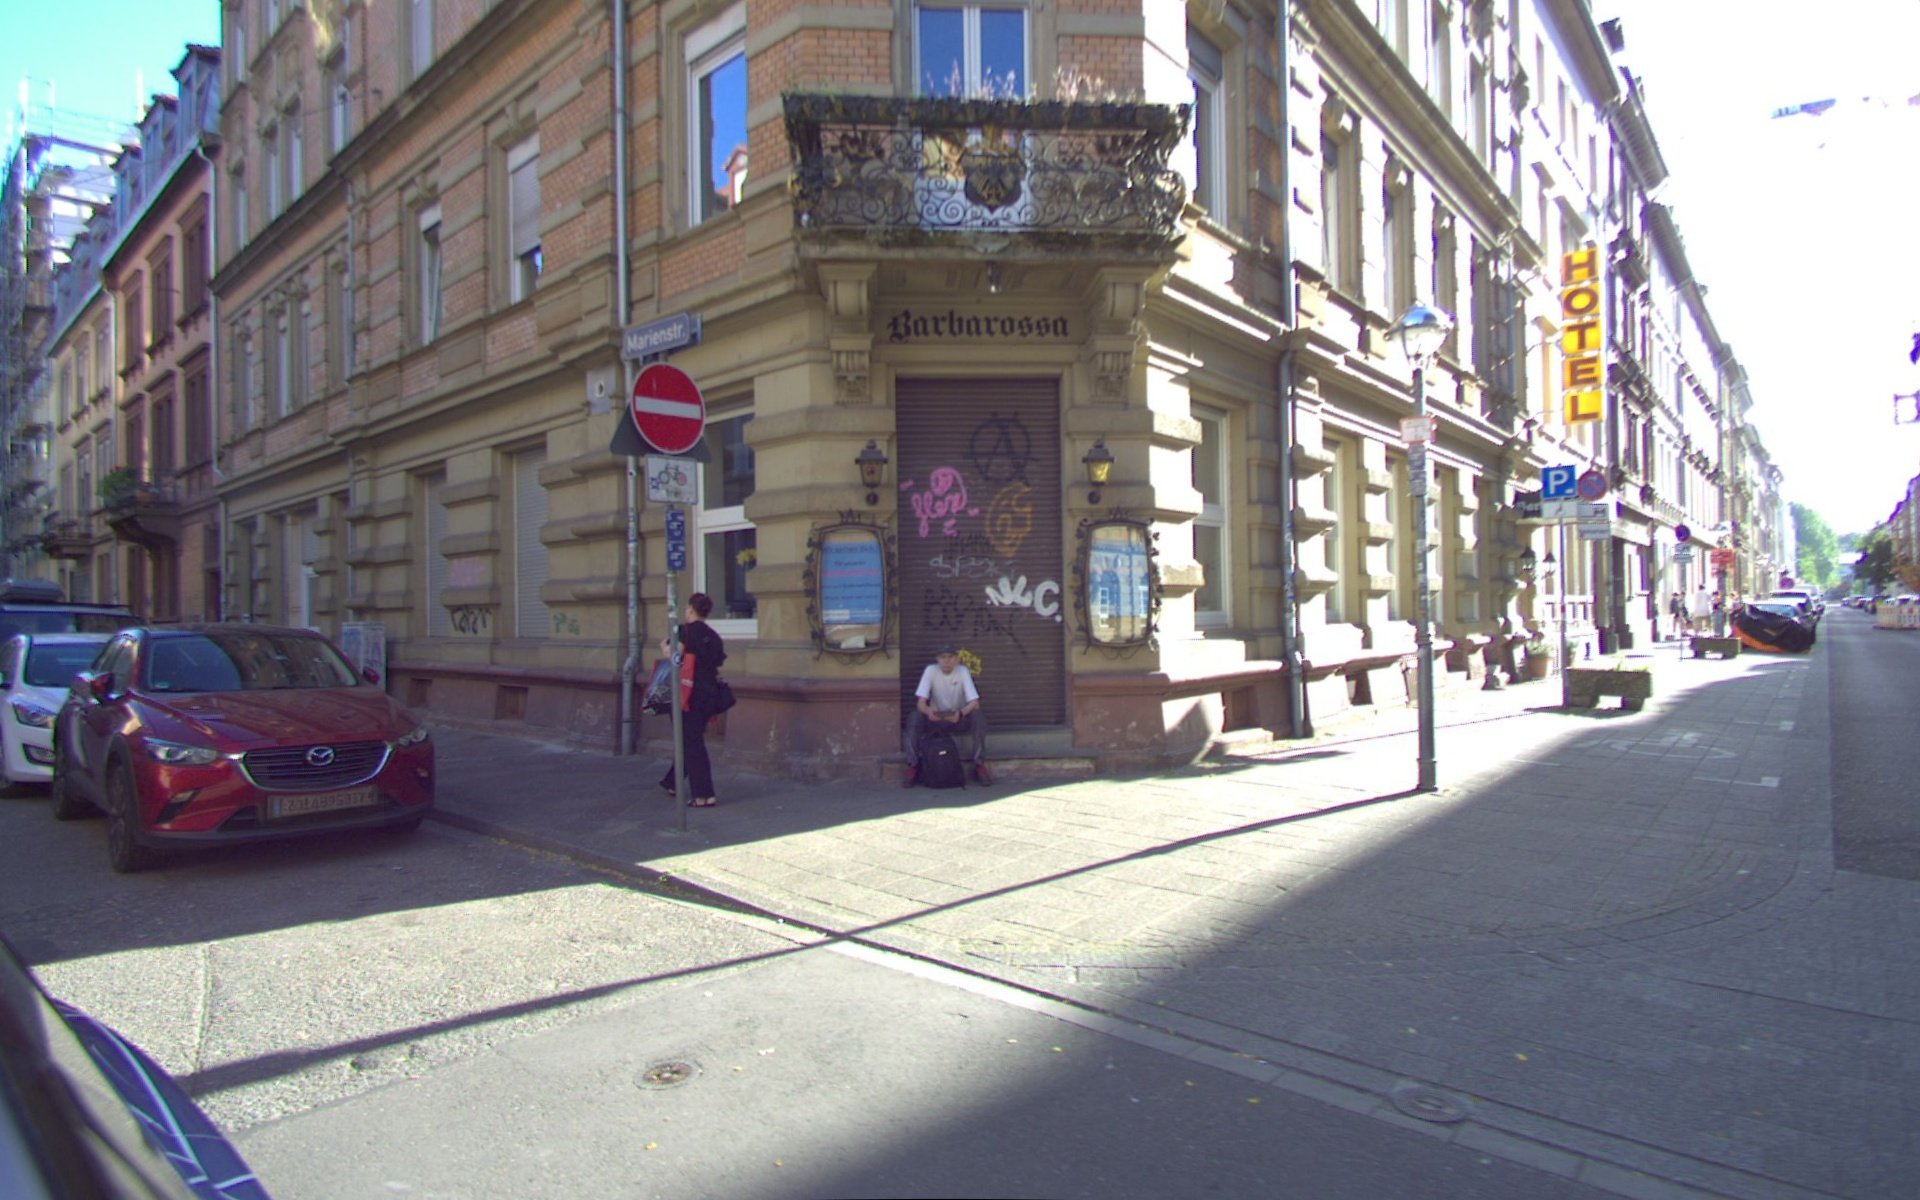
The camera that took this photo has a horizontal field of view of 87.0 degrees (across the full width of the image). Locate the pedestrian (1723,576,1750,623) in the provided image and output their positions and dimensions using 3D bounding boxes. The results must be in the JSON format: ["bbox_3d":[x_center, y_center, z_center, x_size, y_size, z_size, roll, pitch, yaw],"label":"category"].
[{"bbox_3d":[27.608,-0.017,35.980,0.711,1.578,0.714,-1,3,41],"label":"pedestrian"}]

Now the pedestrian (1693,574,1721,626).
[{"bbox_3d":[26.605,0.003,36.036,0.711,1.771,0.714,-1,3,41],"label":"pedestrian"}]

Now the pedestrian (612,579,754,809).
[{"bbox_3d":[-2.063,0.655,7.538,0.759,1.592,0.660,-2,1,40],"label":"pedestrian"}]

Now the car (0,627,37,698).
[{"bbox_3d":[-20.151,1.283,20.488,3.998,1.323,1.681,-1,3,42],"label":"car"}]

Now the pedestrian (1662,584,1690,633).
[{"bbox_3d":[26.795,0.302,37.870,0.701,1.771,0.724,-5,3,-43],"label":"pedestrian"}]

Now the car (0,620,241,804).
[{"bbox_3d":[-8.861,0.975,10.217,3.871,1.431,1.657,-2,1,40],"label":"car"}]

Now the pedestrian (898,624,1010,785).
[{"bbox_3d":[-0.065,0.808,8.177,0.657,1.186,0.750,-2,1,-19],"label":"pedestrian"}]

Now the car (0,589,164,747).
[{"bbox_3d":[-12.604,0.845,13.866,4.606,1.798,1.873,-2,1,42],"label":"car"}]

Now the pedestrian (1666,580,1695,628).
[{"bbox_3d":[27.457,0.165,38.567,0.701,1.771,0.724,-5,3,-43],"label":"pedestrian"}]

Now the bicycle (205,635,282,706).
[{"bbox_3d":[-12.528,1.209,17.668,1.784,1.133,0.660,-2,2,42],"label":"bicycle"}]

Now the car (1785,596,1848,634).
[{"bbox_3d":[28.087,0.483,33.245,1.382,1.171,3.285,-2,-1,37],"label":"car"}]

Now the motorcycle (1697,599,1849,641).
[{"bbox_3d":[22.762,0.526,28.437,1.313,1.070,3.067,0,1,-25],"label":"motorcycle"}]

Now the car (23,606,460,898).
[{"bbox_3d":[-5.428,0.861,7.430,4.088,1.492,1.705,-2,1,42],"label":"car"}]

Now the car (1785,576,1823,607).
[{"bbox_3d":[63.865,-0.685,76.550,2.053,2.120,4.579,-2,1,41],"label":"car"}]

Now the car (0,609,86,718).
[{"bbox_3d":[-16.474,1.044,17.270,4.607,1.636,1.769,-2,1,42],"label":"car"}]
